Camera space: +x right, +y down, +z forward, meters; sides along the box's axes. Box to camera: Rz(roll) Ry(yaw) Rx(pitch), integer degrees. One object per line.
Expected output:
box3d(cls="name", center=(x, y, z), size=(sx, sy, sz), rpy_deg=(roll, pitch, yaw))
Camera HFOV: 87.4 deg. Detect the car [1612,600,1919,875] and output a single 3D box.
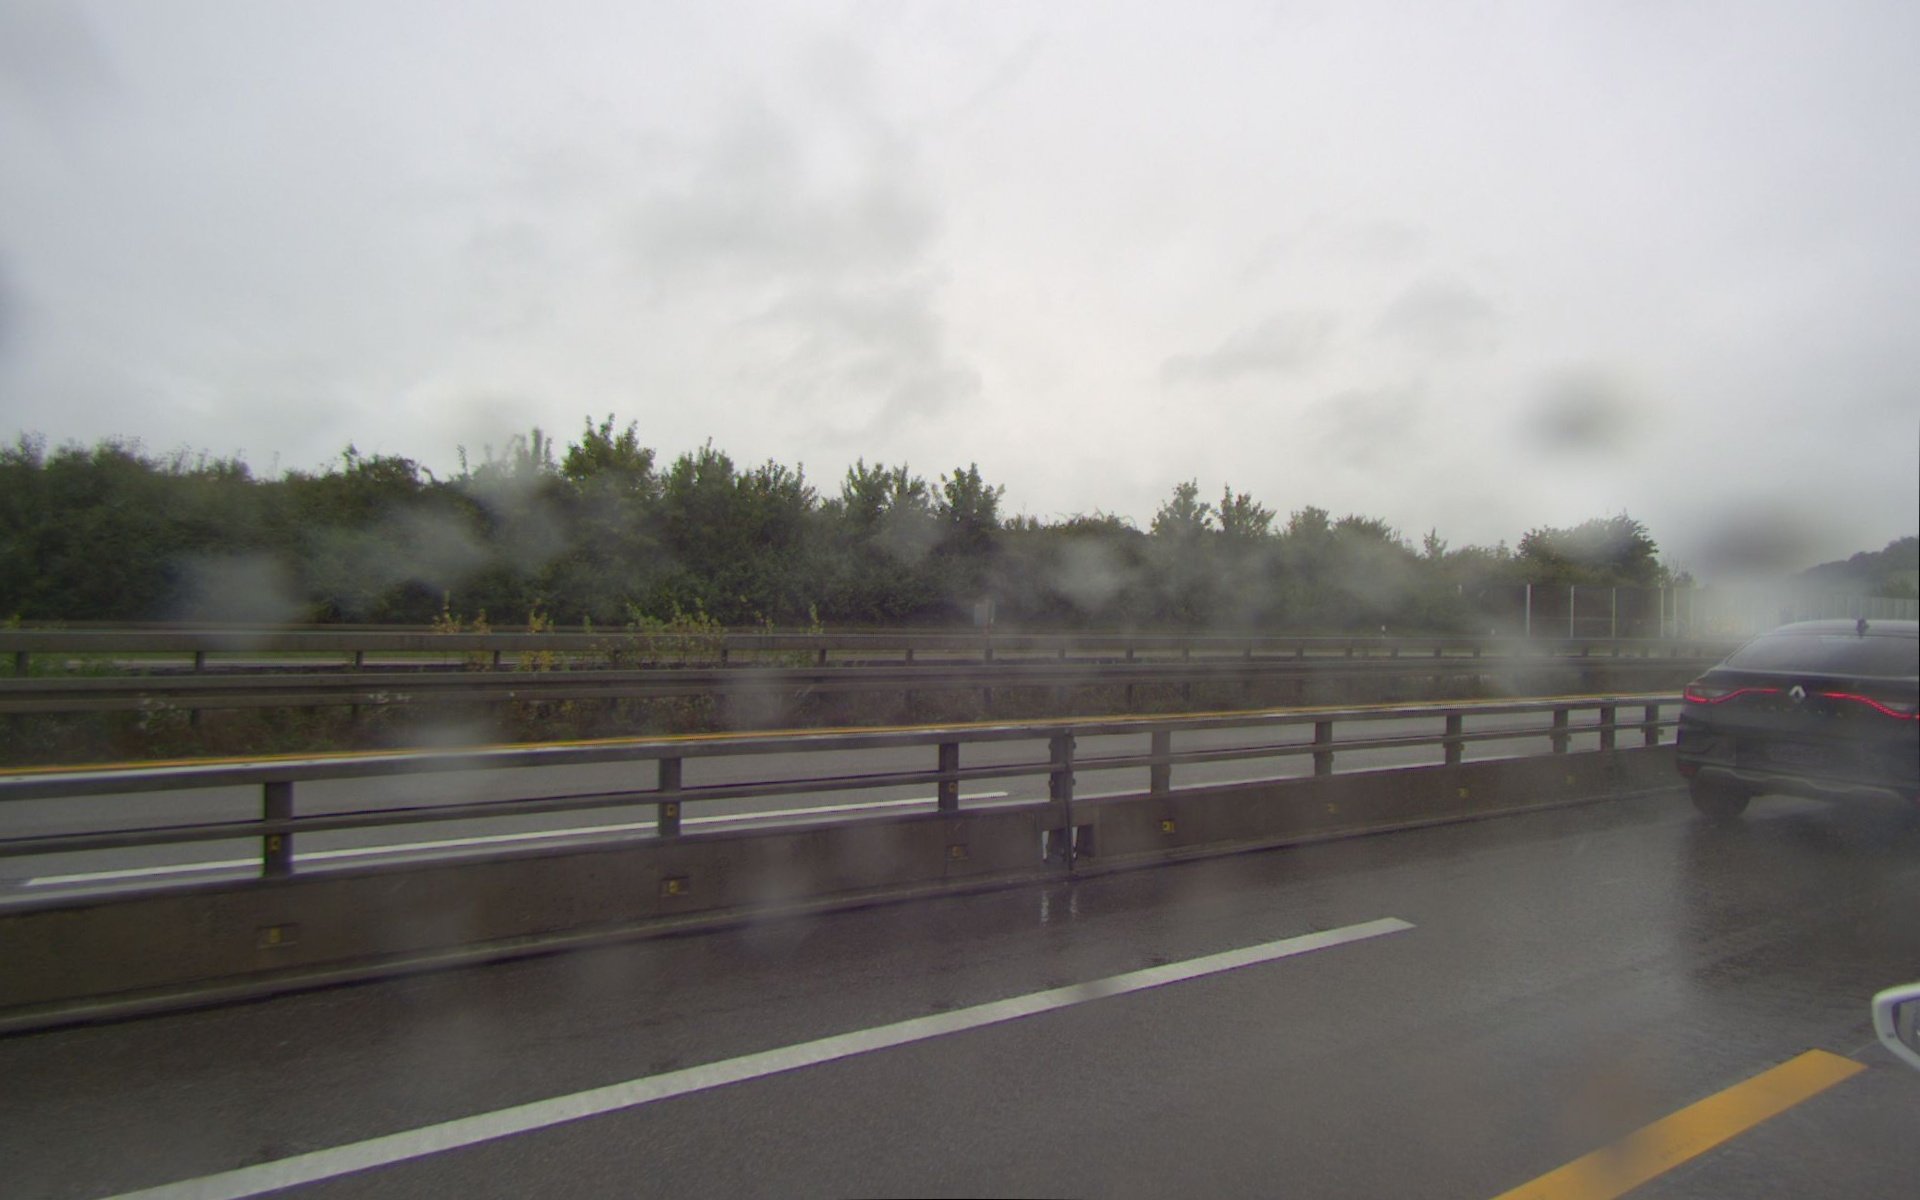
box3d(cls="car", center=(7.235, 0.883, 7.720), size=(4.362, 1.606, 1.984), rpy_deg=(2, 0, -31))
